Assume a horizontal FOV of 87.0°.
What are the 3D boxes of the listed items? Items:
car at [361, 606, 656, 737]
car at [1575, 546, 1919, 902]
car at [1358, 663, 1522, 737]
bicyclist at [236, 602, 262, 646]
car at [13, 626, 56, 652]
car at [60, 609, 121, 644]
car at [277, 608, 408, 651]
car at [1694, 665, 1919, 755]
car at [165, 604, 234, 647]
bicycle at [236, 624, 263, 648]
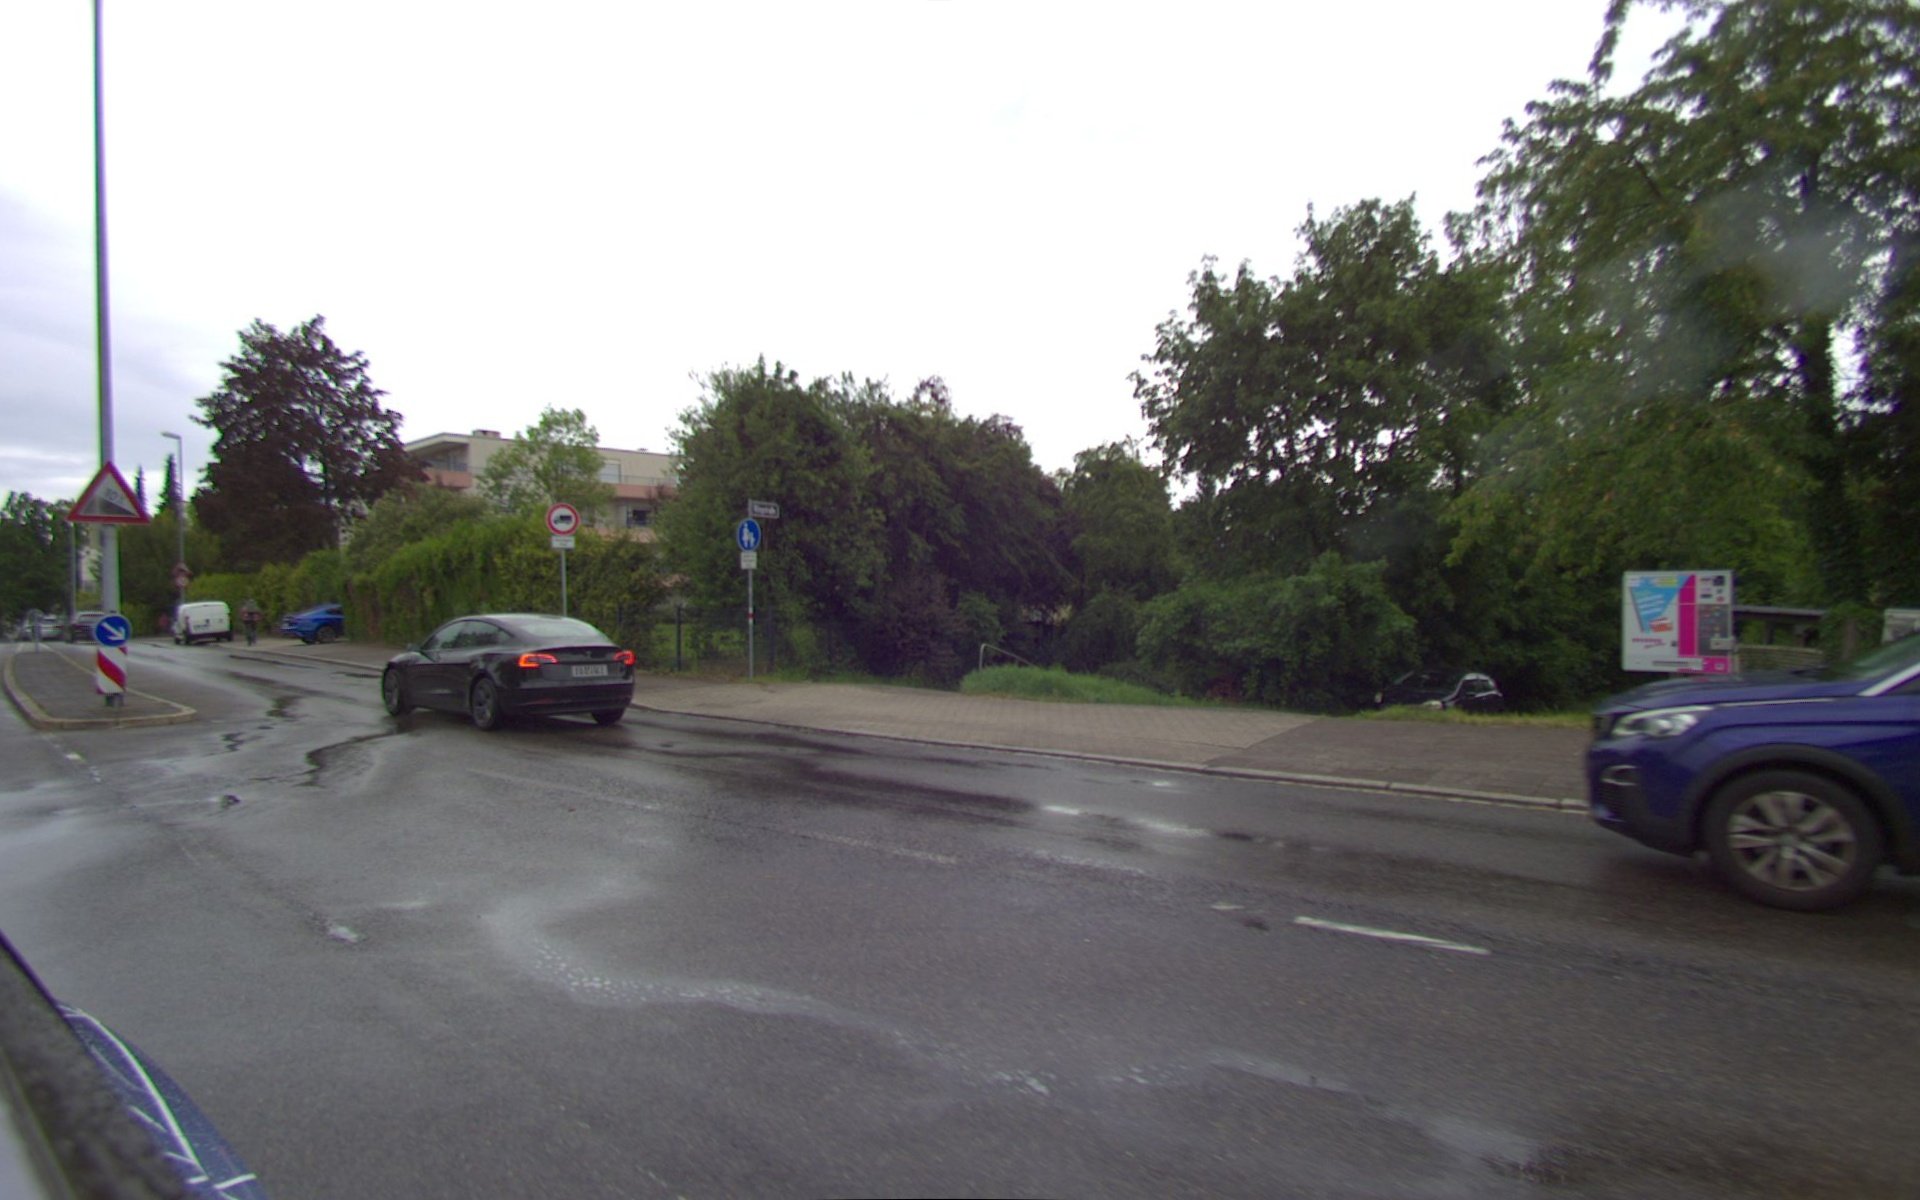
[{"bbox_3d":[-6.198,0.840,13.669,4.442,1.487,1.846,0,-1,39],"label":"car"},{"bbox_3d":[5.508,0.562,4.654,4.439,1.565,1.847,0,-1,37],"label":"car"},{"bbox_3d":[10.796,2.164,22.655,3.936,1.367,1.847,2,-1,-40],"label":"car"},{"bbox_3d":[-26.950,0.899,38.369,0.732,1.659,0.779,-1,0,-38],"label":"bicyclist"},{"bbox_3d":[-58.667,2.470,64.133,4.001,1.467,1.796,0,0,44],"label":"car"},{"bbox_3d":[-40.289,1.199,46.862,4.001,1.467,1.796,0,0,44],"label":"car"},{"bbox_3d":[-22.940,1.042,37.661,1.768,1.467,3.837,0,0,42],"label":"car"},{"bbox_3d":[16.000,1.961,18.373,3.974,1.367,1.829,1,-1,23],"label":"car"},{"bbox_3d":[-32.587,1.050,43.332,4.001,1.730,1.796,0,0,44],"label":"car"},{"bbox_3d":[-27.017,1.351,38.458,0.732,0.857,1.976,-1,0,-38],"label":"bicycle"}]
